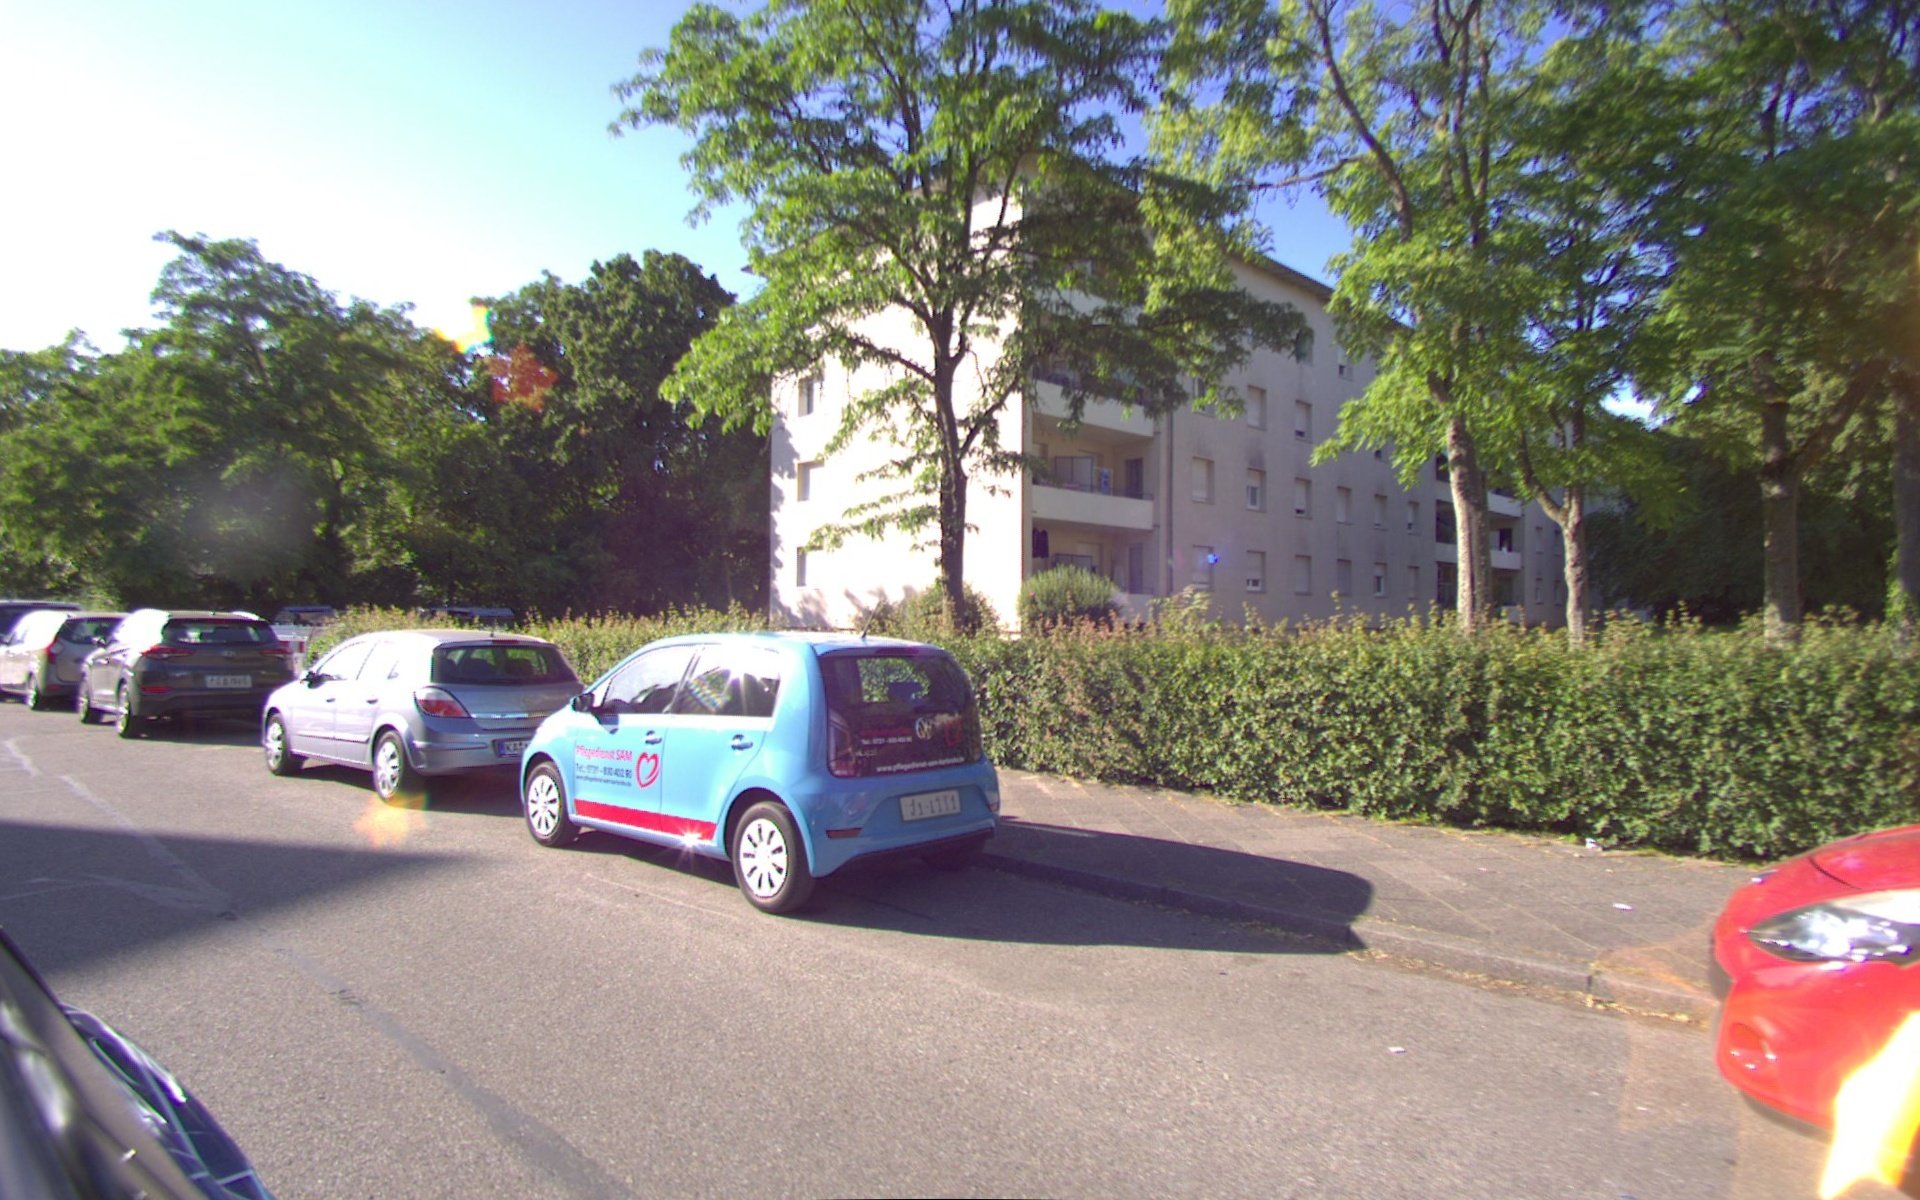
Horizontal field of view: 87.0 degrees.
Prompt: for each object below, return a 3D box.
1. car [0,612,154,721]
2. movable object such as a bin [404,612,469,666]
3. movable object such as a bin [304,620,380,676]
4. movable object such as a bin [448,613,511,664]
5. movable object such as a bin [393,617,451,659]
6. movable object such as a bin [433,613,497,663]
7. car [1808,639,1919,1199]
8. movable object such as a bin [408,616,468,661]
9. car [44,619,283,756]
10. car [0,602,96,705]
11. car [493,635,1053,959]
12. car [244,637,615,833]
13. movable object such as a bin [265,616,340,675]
[{"bbox_3d":[-16.082,1.125,18.112,4.333,1.736,1.541,-1,-3,37],"label":"car"},{"bbox_3d":[-15.249,1.125,29.478,1.277,1.500,1.247,-1,-2,36],"label":"movable object such as a bin"},{"bbox_3d":[-16.097,1.238,26.366,1.258,1.412,1.265,-1,-2,33],"label":"movable object such as a bin"},{"bbox_3d":[-14.512,1.163,30.565,1.277,1.500,1.247,-1,-2,36],"label":"movable object such as a bin"},{"bbox_3d":[-18.003,1.265,33.836,1.509,1.365,1.262,-1,-2,42],"label":"movable object such as a bin"},{"bbox_3d":[-15.519,1.174,31.718,1.507,1.500,1.263,-1,-2,38],"label":"movable object such as a bin"},{"bbox_3d":[3.968,0.847,1.854,3.676,1.485,1.653,-1,-3,41],"label":"car"},{"bbox_3d":[-16.864,1.221,32.688,1.509,1.419,1.262,-1,-2,42],"label":"movable object such as a bin"},{"bbox_3d":[-11.228,1.113,14.163,4.358,1.630,1.731,-1,-3,40],"label":"car"},{"bbox_3d":[-20.035,1.086,21.180,4.660,1.976,1.847,-1,-2,35],"label":"car"},{"bbox_3d":[-1.374,1.006,6.620,3.676,1.485,1.653,-1,-3,41],"label":"car"},{"bbox_3d":[-5.168,1.111,9.656,3.995,1.448,1.654,-1,-3,39],"label":"car"},{"bbox_3d":[-17.717,1.208,27.286,1.274,1.563,1.250,-1,-2,29],"label":"movable object such as a bin"}]
